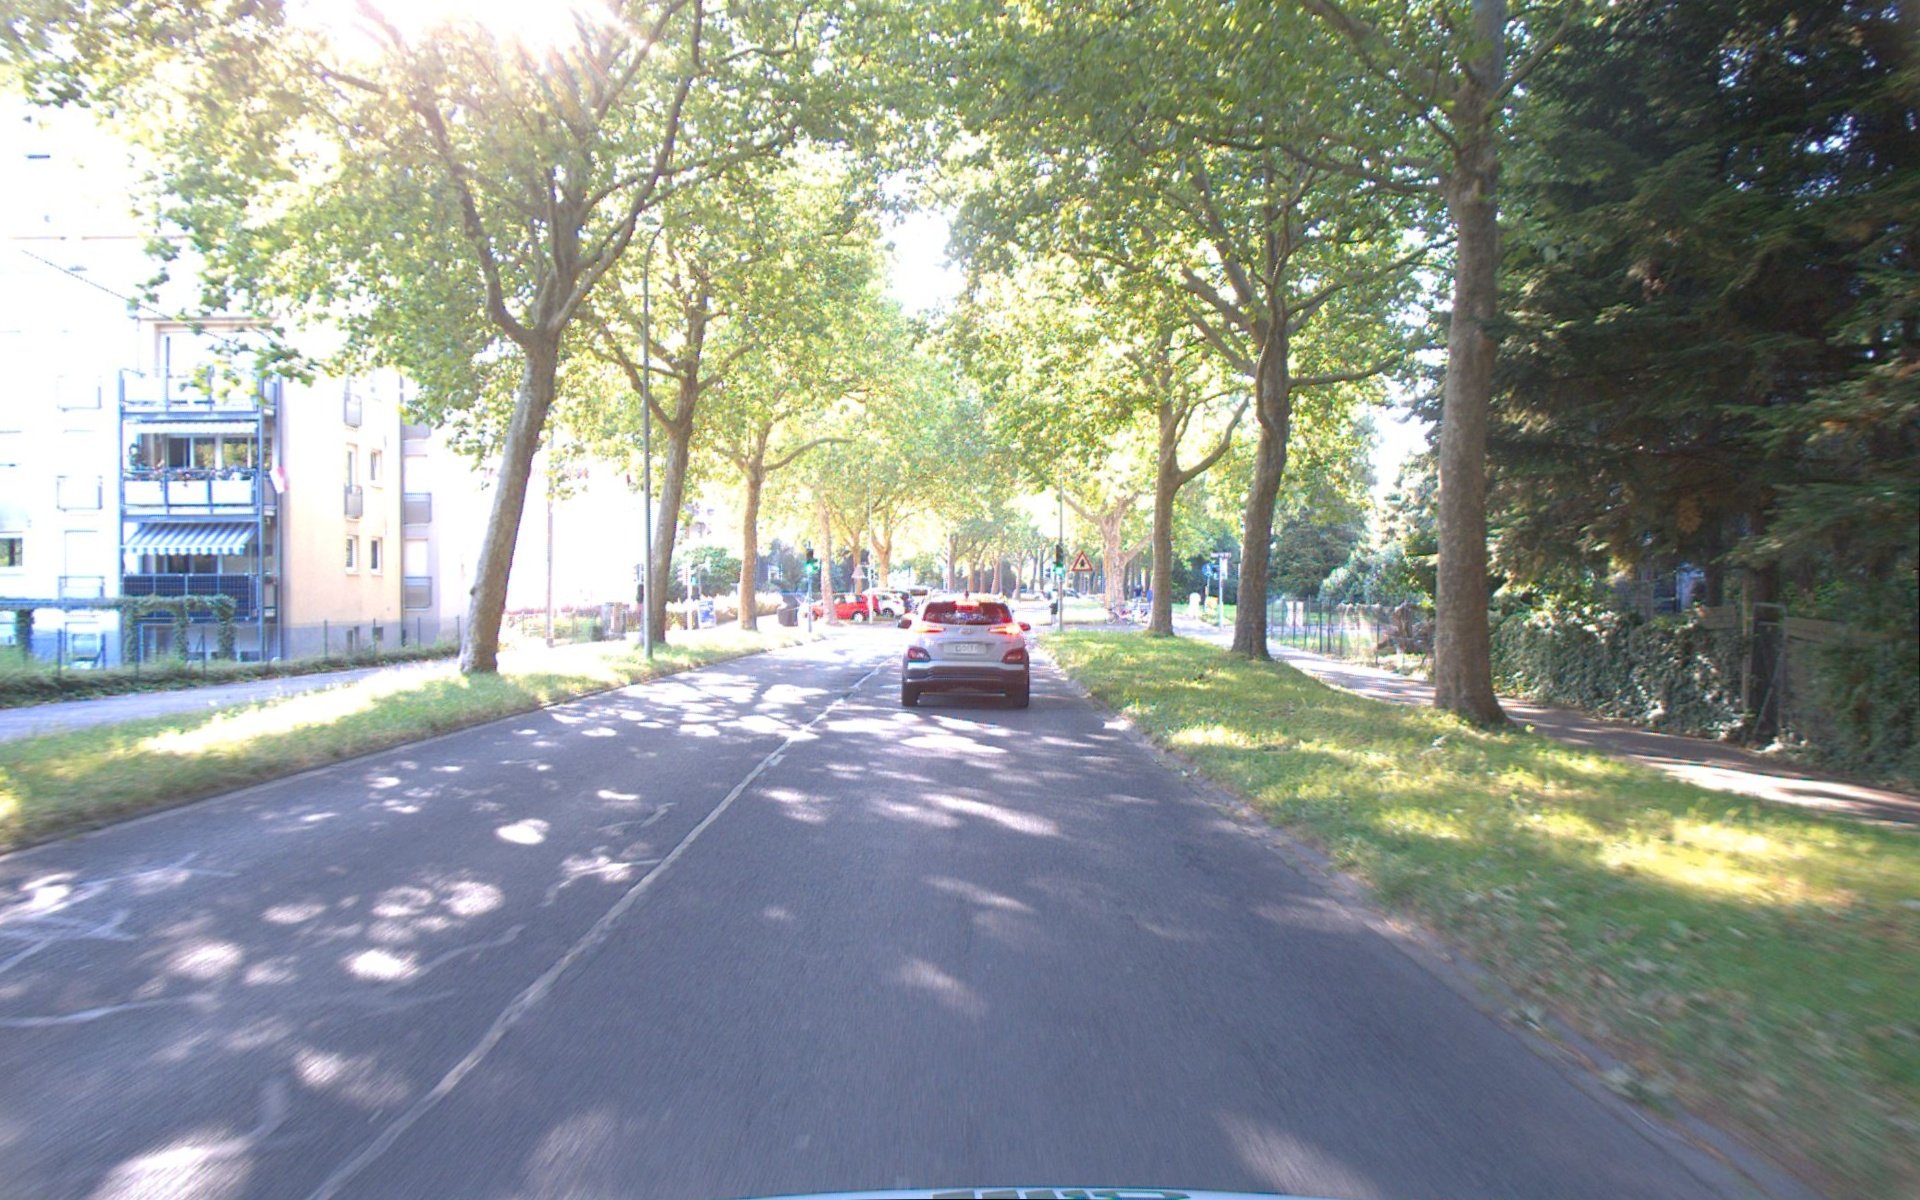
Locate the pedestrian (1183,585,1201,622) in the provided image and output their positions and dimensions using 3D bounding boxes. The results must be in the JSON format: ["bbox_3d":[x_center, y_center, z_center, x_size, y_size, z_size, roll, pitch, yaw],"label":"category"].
[{"bbox_3d":[11.251,0.166,80.244,0.816,1.766,0.886,1,-1,9],"label":"pedestrian"}]

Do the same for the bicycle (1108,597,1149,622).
[{"bbox_3d":[8.167,0.454,80.214,0.600,1.184,2.117,1,-1,-42],"label":"bicycle"}]

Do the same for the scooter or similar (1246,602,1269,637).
[{"bbox_3d":[11.083,0.712,61.672,0.538,1.280,2.314,1,0,2],"label":"scooter or similar"}]

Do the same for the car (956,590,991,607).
[{"bbox_3d":[1.481,-0.172,178.470,3.600,1.840,1.746,1,0,-8],"label":"car"}]

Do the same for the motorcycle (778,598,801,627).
[{"bbox_3d":[-8.498,0.604,82.433,0.828,1.403,2.776,1,0,1],"label":"motorcycle"}]

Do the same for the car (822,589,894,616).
[{"bbox_3d":[-5.834,0.149,94.688,3.904,1.504,2.000,1,0,2],"label":"car"}]

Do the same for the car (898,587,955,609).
[{"bbox_3d":[-2.352,-0.139,116.763,3.904,1.504,2.000,1,0,2],"label":"car"}]

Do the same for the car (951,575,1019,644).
[{"bbox_3d":[0.733,0.291,51.292,1.953,2.049,3.999,1,0,-1],"label":"car"}]

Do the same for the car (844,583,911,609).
[{"bbox_3d":[-5.039,-0.243,100.961,3.904,1.504,2.000,1,0,2],"label":"car"}]

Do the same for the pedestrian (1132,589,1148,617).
[{"bbox_3d":[13.172,0.196,121.195,1.071,2.049,1.106,1,0,8],"label":"pedestrian"}]

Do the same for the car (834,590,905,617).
[{"bbox_3d":[-5.309,0.228,97.062,3.903,1.504,2.001,1,0,3],"label":"car"}]

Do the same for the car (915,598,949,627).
[{"bbox_3d":[-1.495,0.652,89.369,1.653,1.462,3.683,1,1,2],"label":"car"}]

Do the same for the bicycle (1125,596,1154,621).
[{"bbox_3d":[8.817,0.414,81.286,0.594,1.204,2.108,1,0,-18],"label":"bicycle"}]

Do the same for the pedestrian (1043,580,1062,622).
[{"bbox_3d":[4.618,0.056,82.376,0.849,2.049,0.814,1,-1,9],"label":"pedestrian"}]

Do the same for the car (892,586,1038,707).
[{"bbox_3d":[0.091,0.626,24.294,1.952,1.602,4.000,1,0,1],"label":"car"}]

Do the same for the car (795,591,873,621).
[{"bbox_3d":[-6.615,0.305,87.066,3.904,1.504,2.000,1,0,2],"label":"car"}]
